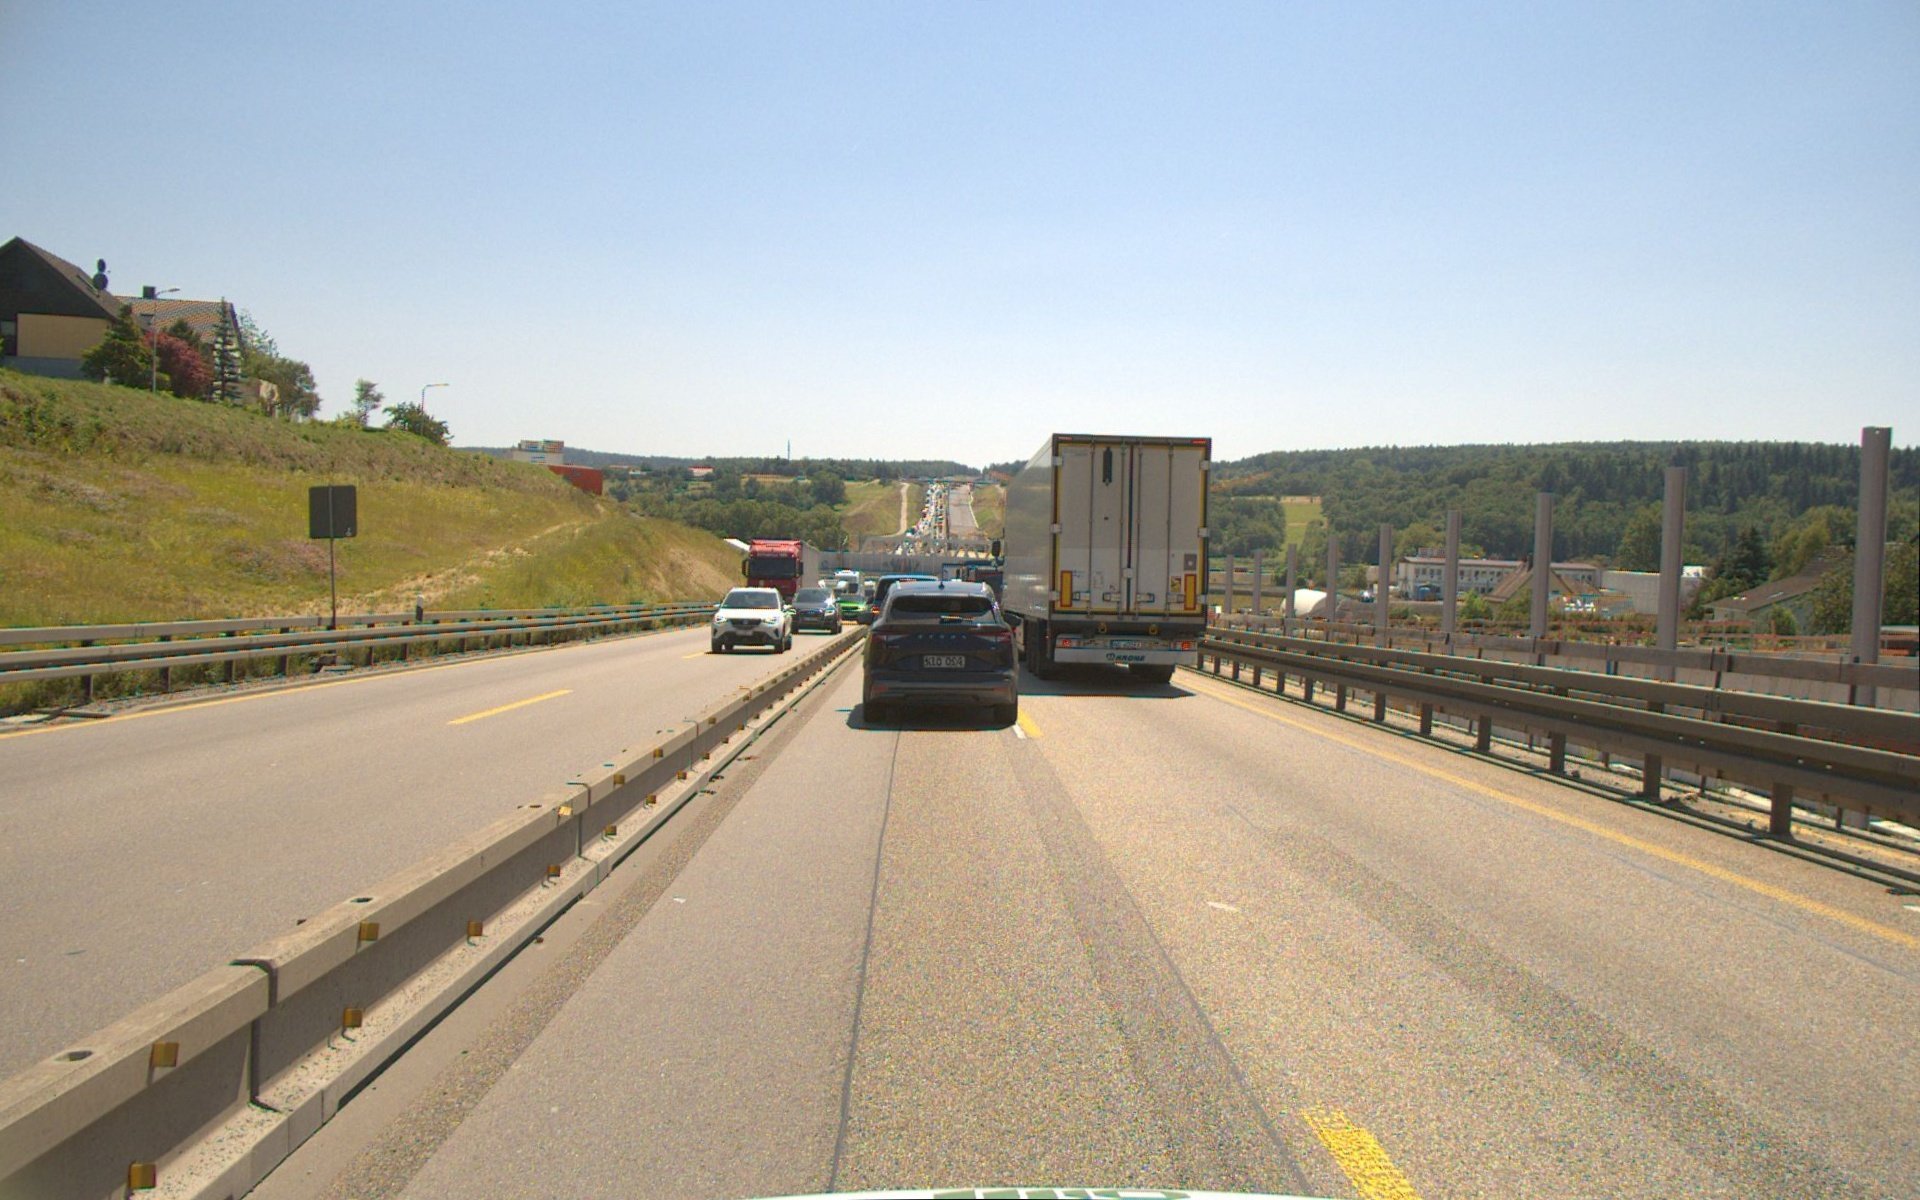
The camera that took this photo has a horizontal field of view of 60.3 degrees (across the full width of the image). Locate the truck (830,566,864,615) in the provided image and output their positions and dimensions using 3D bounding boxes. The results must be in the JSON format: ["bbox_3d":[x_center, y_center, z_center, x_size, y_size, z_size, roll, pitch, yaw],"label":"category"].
[{"bbox_3d":[-10.743,-0.838,158.344,2.795,4.414,11.911,1,-1,-2],"label":"truck"}]

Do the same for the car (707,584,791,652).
[{"bbox_3d":[-5.070,0.408,40.211,1.756,1.545,3.996,0,0,-4],"label":"car"}]

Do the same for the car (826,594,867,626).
[{"bbox_3d":[-5.614,0.501,81.973,1.824,1.502,3.998,2,0,-2],"label":"car"}]

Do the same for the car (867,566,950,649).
[{"bbox_3d":[-1.288,0.220,41.681,1.953,1.959,4.506,1,-1,-2],"label":"car"}]

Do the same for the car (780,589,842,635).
[{"bbox_3d":[-5.299,0.406,59.168,1.953,1.557,3.998,1,0,-2],"label":"car"}]

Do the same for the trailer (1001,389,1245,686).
[{"bbox_3d":[2.717,-1.037,32.471,3.116,4.592,13.104,1,0,-1],"label":"trailer"}]

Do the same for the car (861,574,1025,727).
[{"bbox_3d":[-0.211,0.563,20.029,1.766,1.635,3.999,1,0,-1],"label":"car"}]

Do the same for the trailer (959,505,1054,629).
[{"bbox_3d":[1.751,-1.103,69.482,3.116,4.592,14.960,1,-1,-1],"label":"trailer"}]

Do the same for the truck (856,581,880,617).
[{"bbox_3d":[-12.040,-0.087,216.975,2.795,4.414,11.911,1,-1,-2],"label":"truck"}]

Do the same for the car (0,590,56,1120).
[{"bbox_3d":[-3.345,0.686,2.794,1.632,1.438,3.816,1,0,-2],"label":"car"}]

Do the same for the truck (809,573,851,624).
[{"bbox_3d":[-10.489,-0.033,134.714,2.795,3.849,11.911,1,-1,-2],"label":"truck"}]

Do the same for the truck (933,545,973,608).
[{"bbox_3d":[-0.626,-1.741,130.207,2.795,4.543,11.911,1,-1,-2],"label":"truck"}]

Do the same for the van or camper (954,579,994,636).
[{"bbox_3d":[0.885,0.526,101.727,2.339,3.338,6.468,1,-1,1],"label":"van or camper"}]

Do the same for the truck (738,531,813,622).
[{"bbox_3d":[-9.274,-1.014,84.382,2.795,4.212,11.911,1,-1,-2],"label":"truck"}]

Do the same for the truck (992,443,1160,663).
[{"bbox_3d":[2.536,-1.028,38.977,3.116,4.592,8.163,1,0,-2],"label":"truck"}]

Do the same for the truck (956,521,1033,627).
[{"bbox_3d":[1.518,-1.092,76.666,3.116,4.592,8.162,1,-1,-2],"label":"truck"}]
